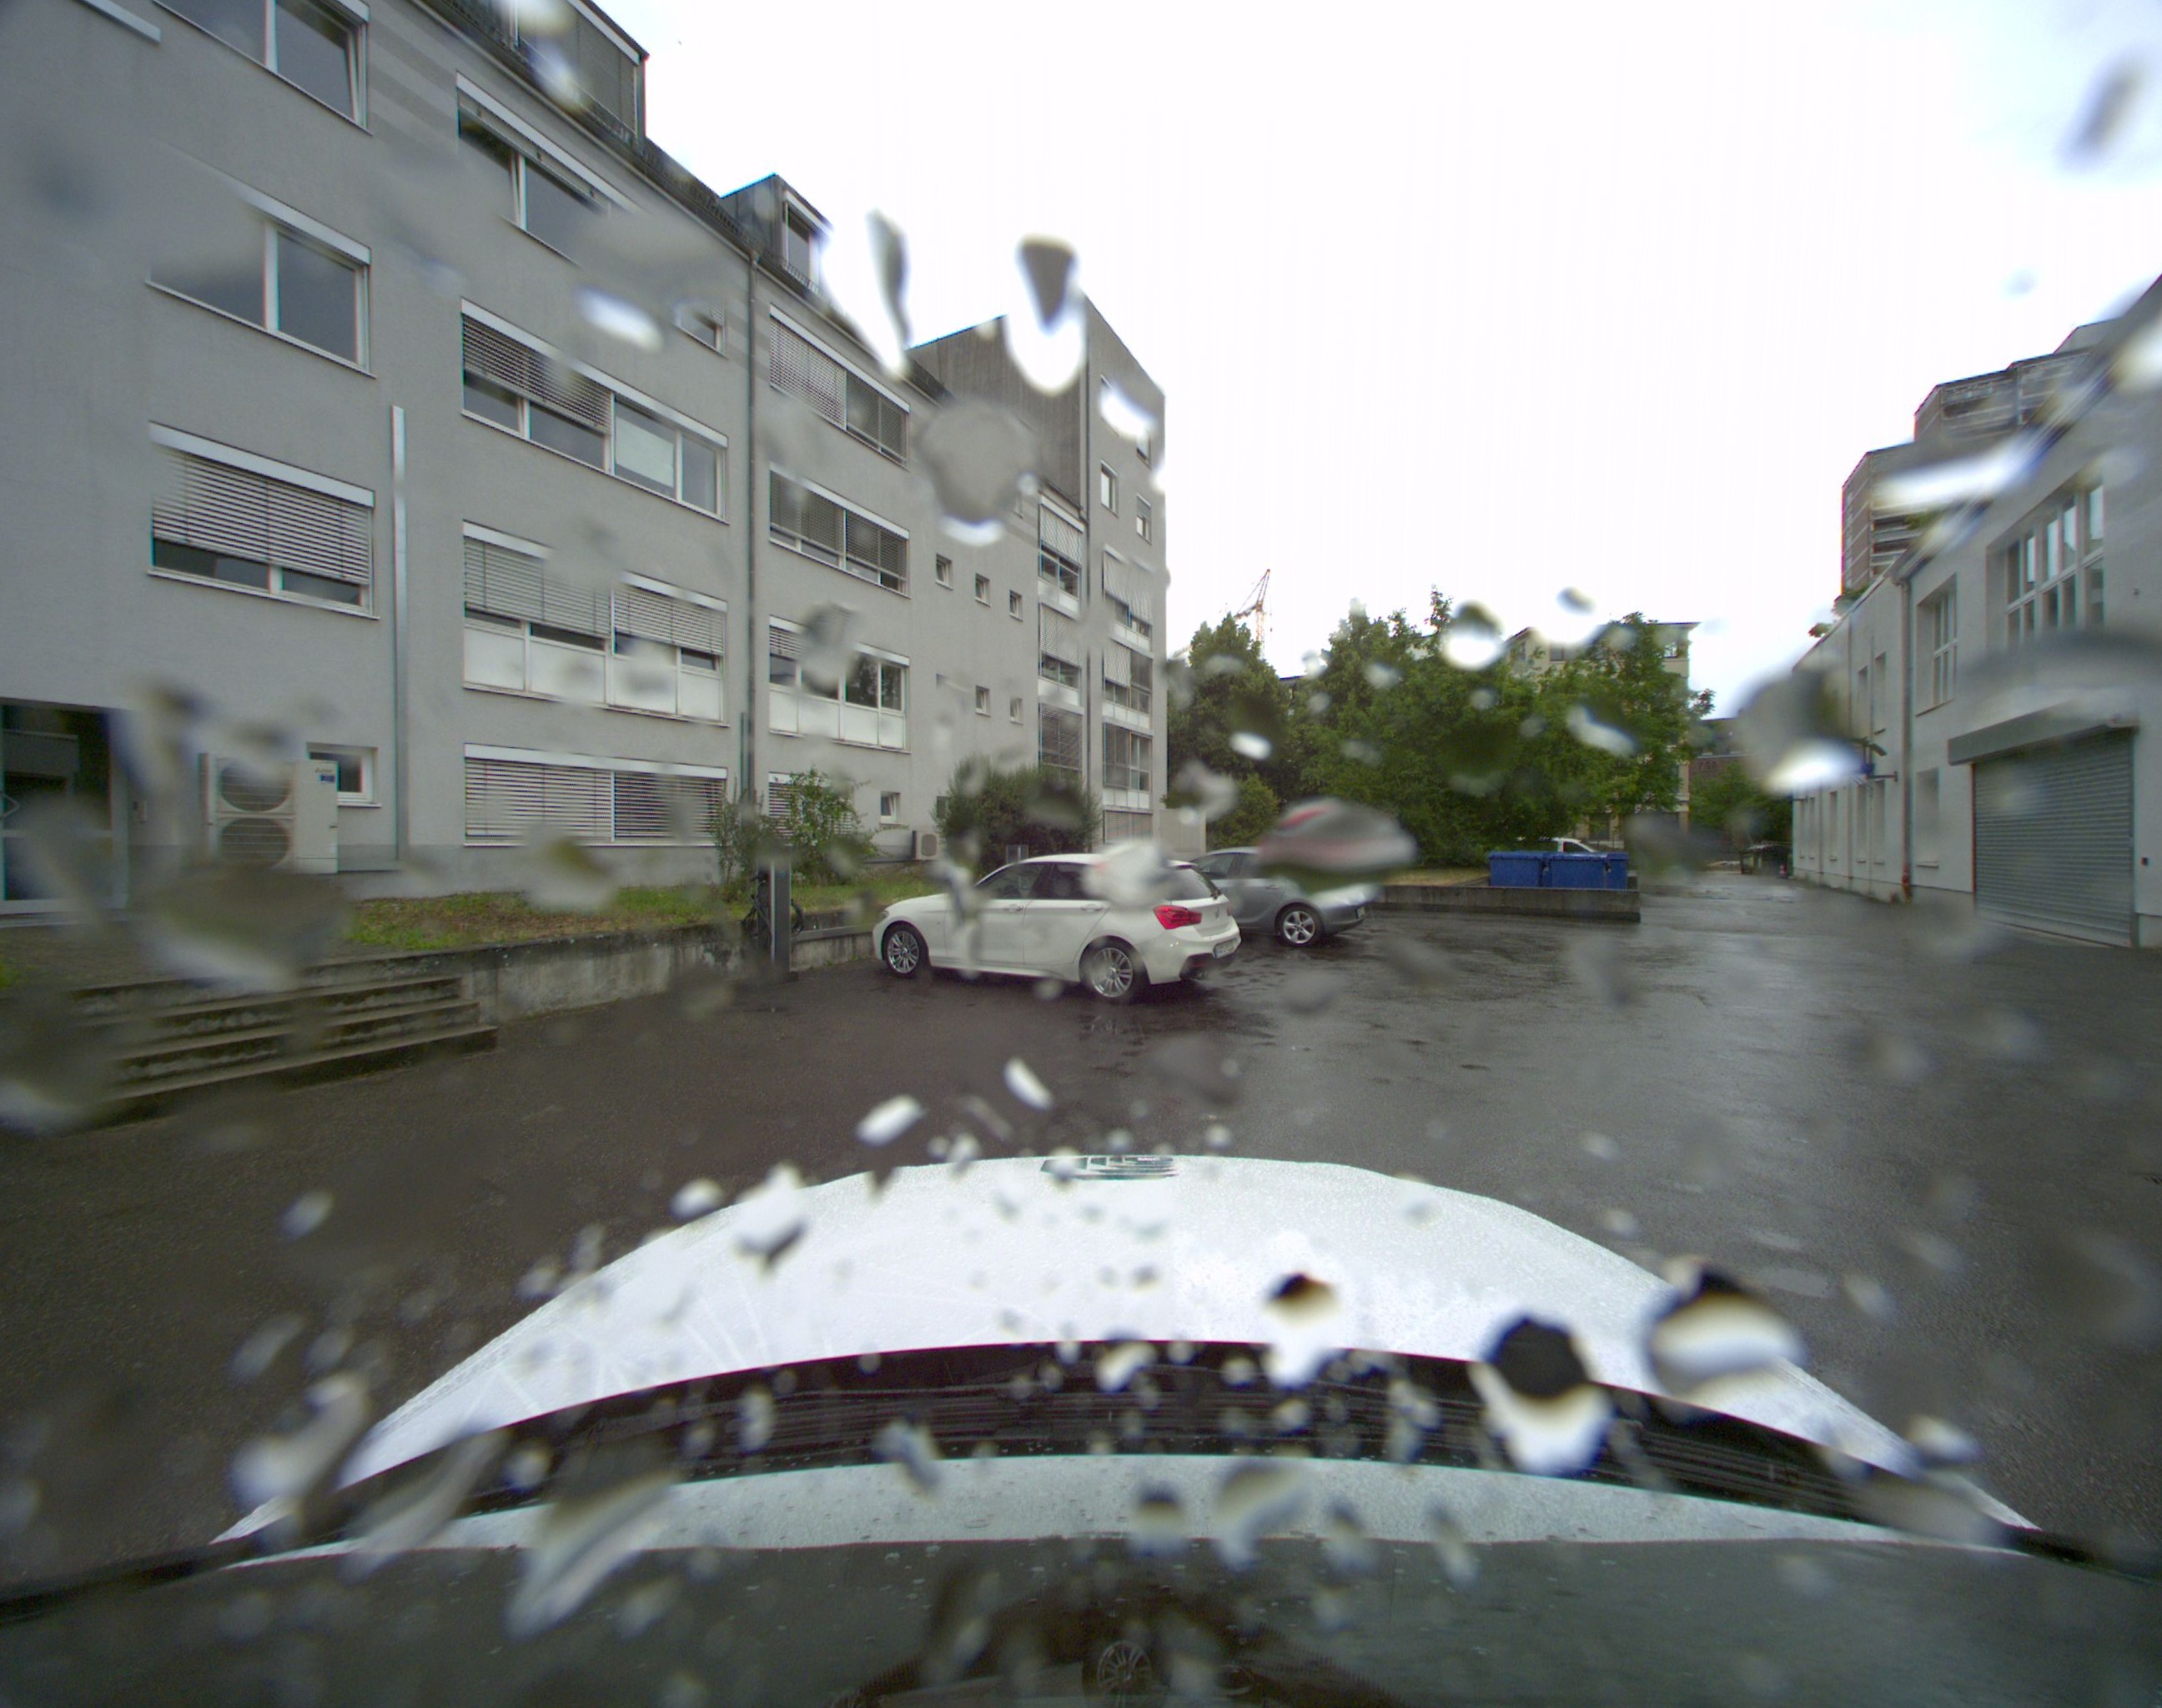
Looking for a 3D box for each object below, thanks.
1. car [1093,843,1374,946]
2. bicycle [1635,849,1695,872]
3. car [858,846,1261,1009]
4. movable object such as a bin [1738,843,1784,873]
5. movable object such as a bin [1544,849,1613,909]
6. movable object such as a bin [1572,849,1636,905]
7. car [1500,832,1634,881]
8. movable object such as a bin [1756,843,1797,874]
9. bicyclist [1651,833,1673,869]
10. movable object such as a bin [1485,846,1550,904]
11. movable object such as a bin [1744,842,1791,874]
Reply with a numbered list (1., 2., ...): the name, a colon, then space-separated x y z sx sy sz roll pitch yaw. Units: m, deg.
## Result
1. car: 2.512 0.587 13.594 4.167 1.489 2.012 0 0 30
2. bicycle: 32.366 0.354 45.136 2.718 1.186 0.738 -1 0 4
3. car: -0.288 0.675 9.334 4.167 1.489 2.012 0 0 30
4. movable object such as a bin: 33.470 0.203 40.126 1.473 1.448 1.321 -1 -2 29
5. movable object such as a bin: 11.932 0.597 19.502 1.297 1.358 1.917 -2 -2 33
6. movable object such as a bin: 13.405 0.588 20.860 1.297 1.358 1.917 -2 -2 33
7. car: 20.400 0.176 34.240 4.637 1.882 2.136 -2 -3 36
8. movable object such as a bin: 32.019 0.232 37.534 1.173 1.374 1.321 -1 -2 29
9. bicyclist: 32.200 -0.172 45.140 0.703 2.013 0.747 0 1 4
10. movable object such as a bin: 10.869 0.533 20.229 1.217 1.358 1.983 -2 -2 33
11. movable object such as a bin: 32.796 0.201 38.947 1.473 1.448 1.321 -1 -2 29
